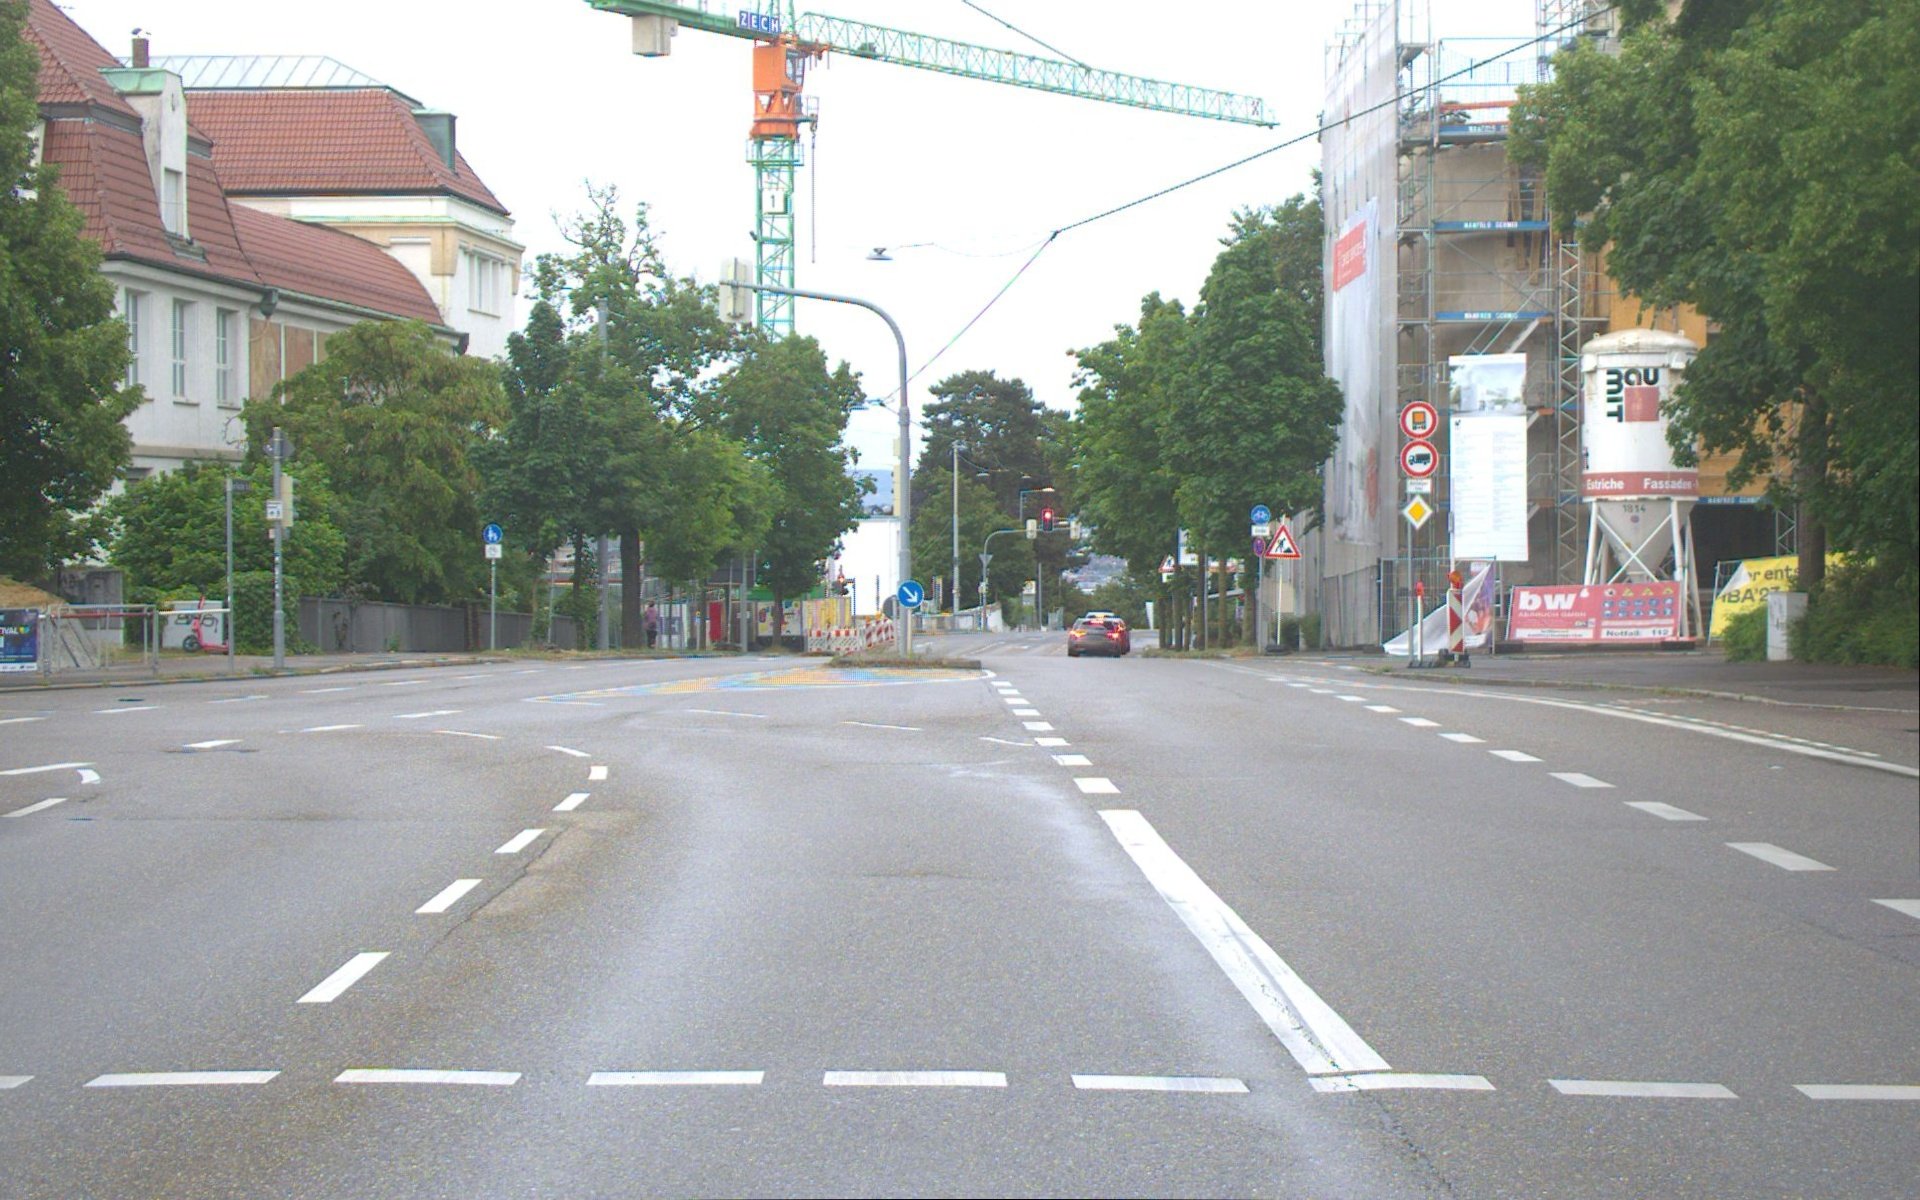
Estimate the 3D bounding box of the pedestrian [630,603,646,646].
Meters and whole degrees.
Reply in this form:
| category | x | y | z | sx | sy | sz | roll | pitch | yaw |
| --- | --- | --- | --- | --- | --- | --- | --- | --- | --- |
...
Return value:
| category | x | y | z | sx | sy | sz | roll | pitch | yaw |
| --- | --- | --- | --- | --- | --- | --- | --- | --- | --- |
| pedestrian | -10.440 | 0.785 | 111.588 | 0.474 | 1.391 | 0.411 | 0 | 1 | -1 |

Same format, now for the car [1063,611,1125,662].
| category | x | y | z | sx | sy | sz | roll | pitch | yaw |
| --- | --- | --- | --- | --- | --- | --- | --- | --- | --- |
| car | 4.830 | 1.302 | 124.563 | 1.993 | 1.744 | 4.000 | -1 | 1 | -1 |

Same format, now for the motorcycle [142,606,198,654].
| category | x | y | z | sx | sy | sz | roll | pitch | yaw |
| --- | --- | --- | --- | --- | --- | --- | --- | --- | --- |
| motorcycle | -14.901 | 0.562 | 64.861 | 0.849 | 0.874 | 0.877 | 1 | 0 | -1 |

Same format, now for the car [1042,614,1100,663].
| category | x | y | z | sx | sy | sz | roll | pitch | yaw |
| --- | --- | --- | --- | --- | --- | --- | --- | --- | --- |
| car | 4.230 | 1.442 | 131.256 | 1.993 | 1.744 | 4.000 | -1 | 1 | -1 |

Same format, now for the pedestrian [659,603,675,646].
| category | x | y | z | sx | sy | sz | roll | pitch | yaw |
| --- | --- | --- | --- | --- | --- | --- | --- | --- | --- |
| pedestrian | -9.530 | 0.795 | 111.862 | 0.474 | 1.391 | 0.411 | 0 | 1 | -1 |

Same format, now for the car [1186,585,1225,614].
| category | x | y | z | sx | sy | sz | roll | pitch | yaw |
| --- | --- | --- | --- | --- | --- | --- | --- | --- | --- |
| car | 15.677 | -0.034 | 219.340 | 1.994 | 1.744 | 3.998 | -1 | 1 | 11 |
